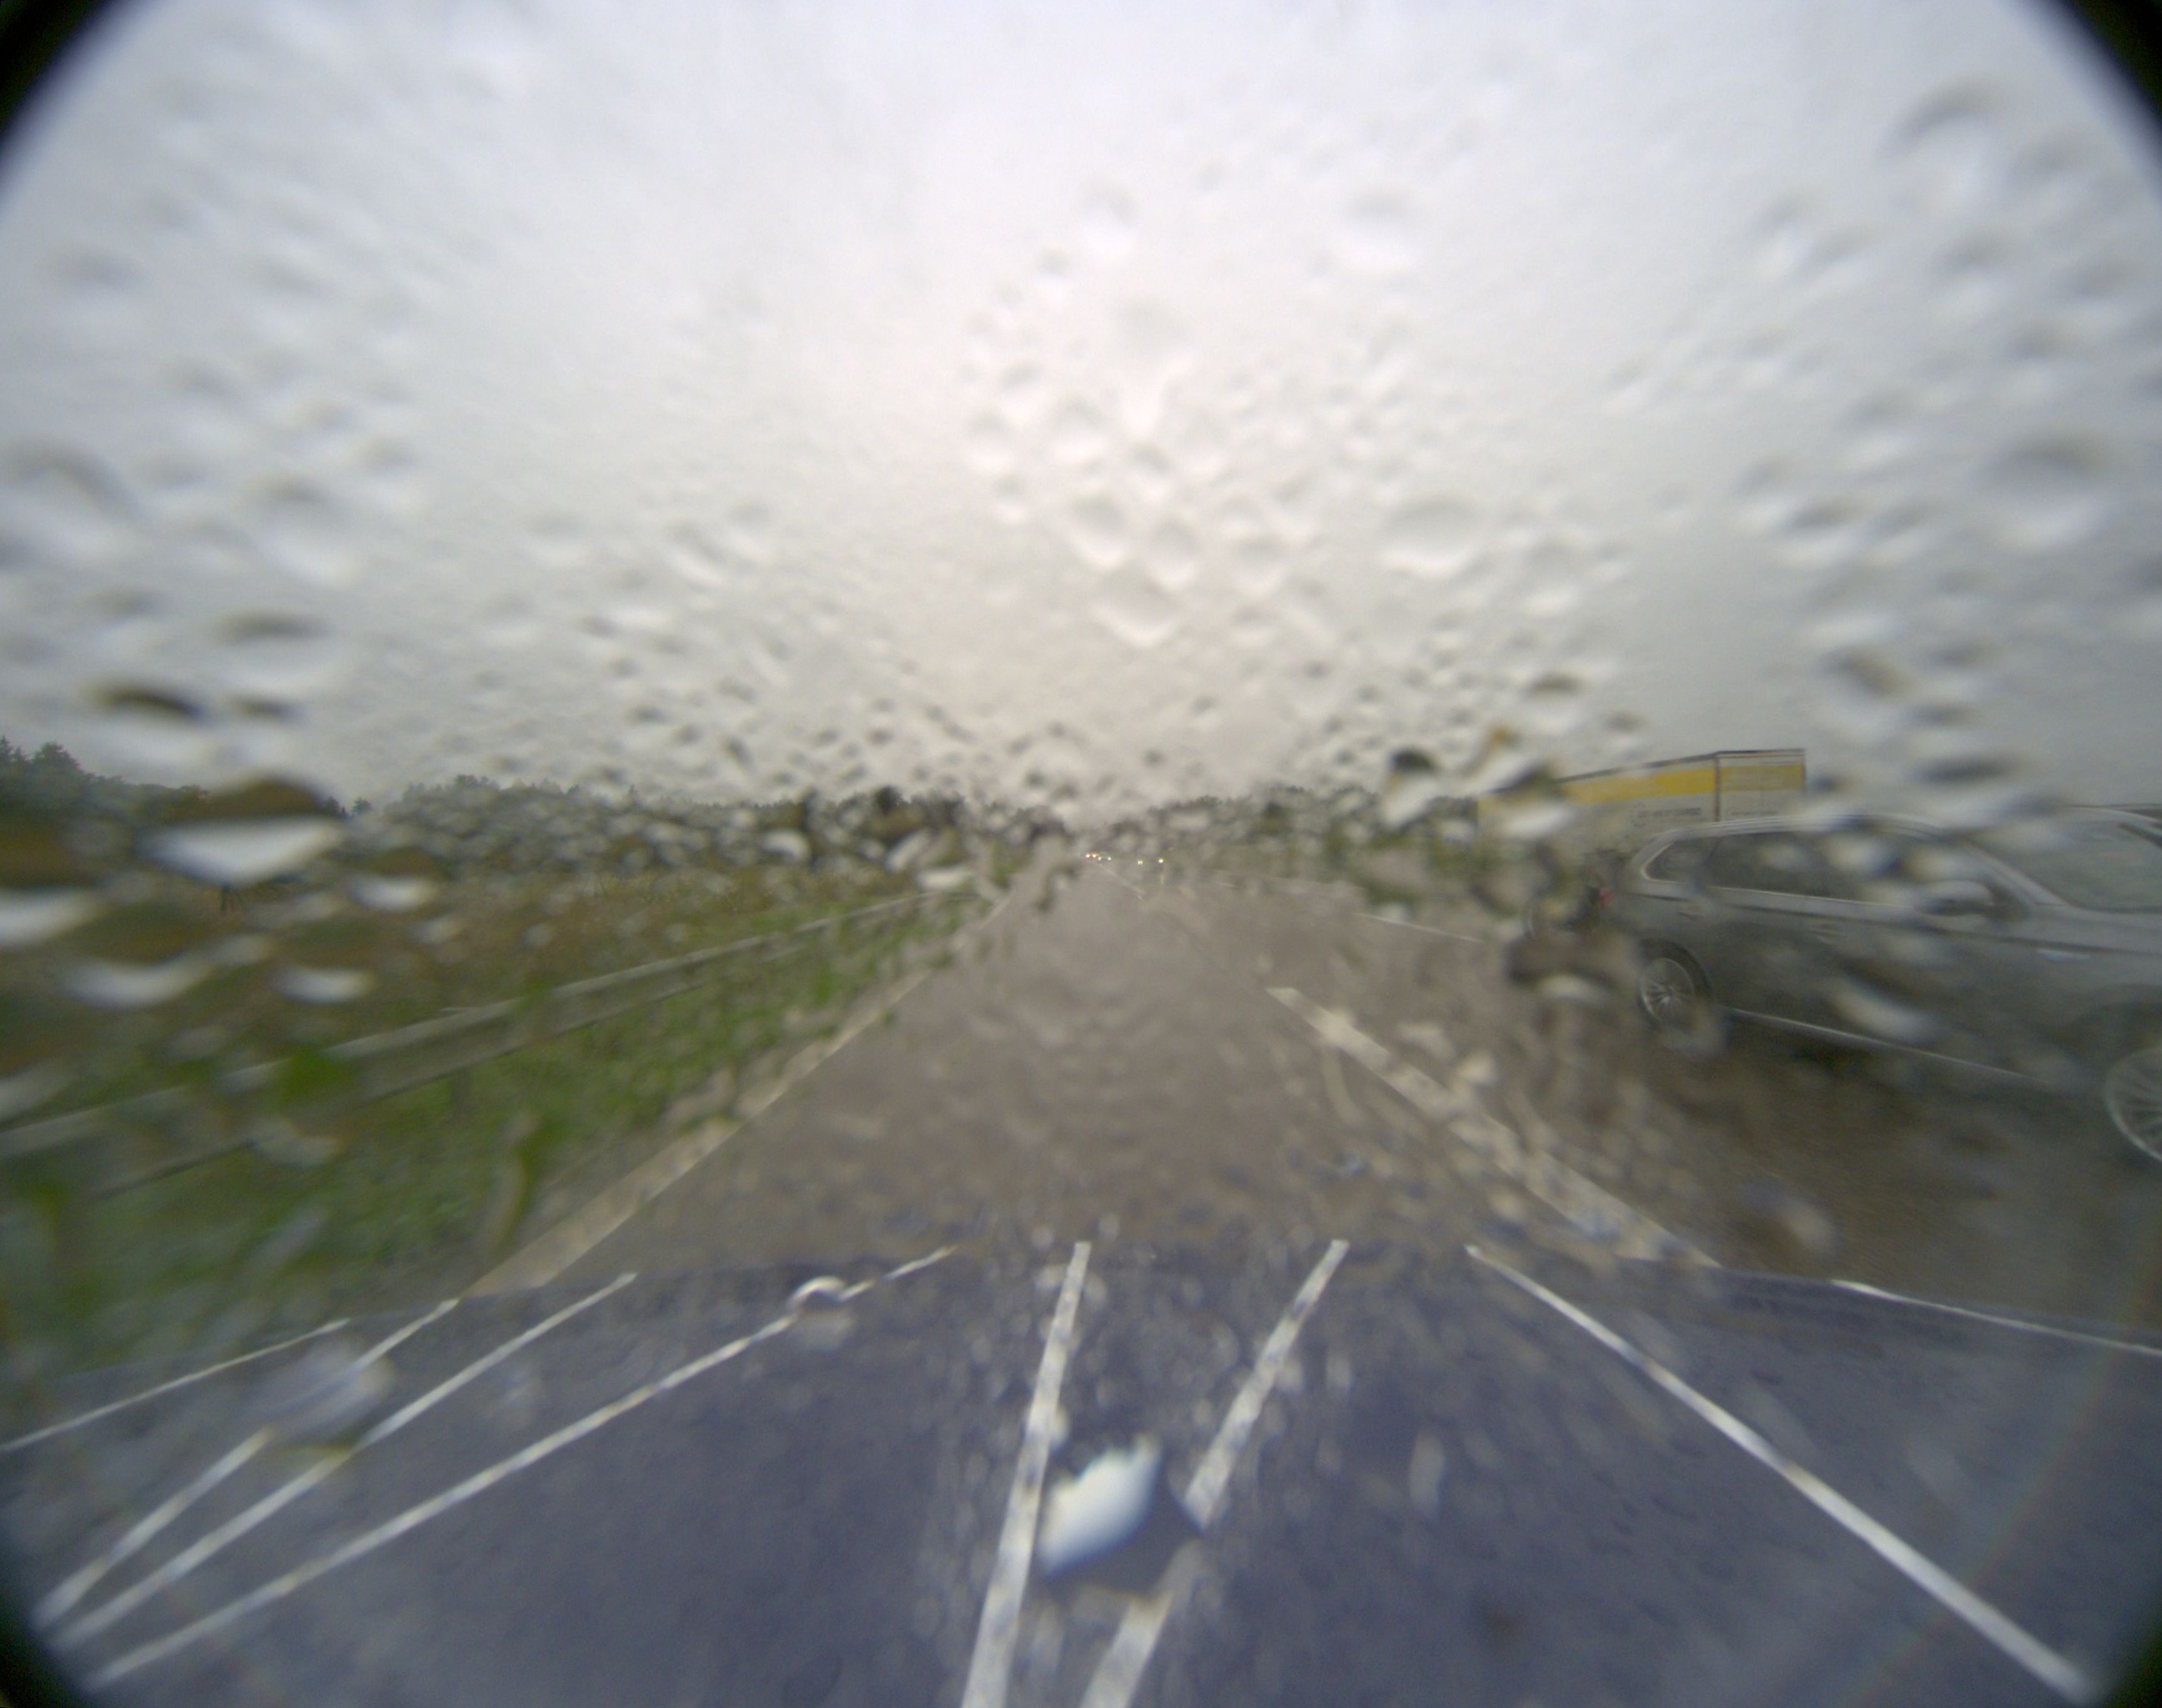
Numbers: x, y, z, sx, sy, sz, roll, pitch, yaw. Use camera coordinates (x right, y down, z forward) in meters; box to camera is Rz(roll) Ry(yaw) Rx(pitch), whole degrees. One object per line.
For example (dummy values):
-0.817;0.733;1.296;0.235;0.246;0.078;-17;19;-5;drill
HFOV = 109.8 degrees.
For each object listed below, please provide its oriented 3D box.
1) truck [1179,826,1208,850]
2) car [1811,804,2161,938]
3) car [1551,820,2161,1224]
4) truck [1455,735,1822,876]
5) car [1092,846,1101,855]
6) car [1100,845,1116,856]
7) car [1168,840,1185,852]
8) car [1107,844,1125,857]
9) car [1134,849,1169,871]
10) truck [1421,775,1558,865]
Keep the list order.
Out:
20.272;-2.813;138.158;3.202;3.944;13.811;-4;1;1;truck
15.788;0.203;12.986;2.110;1.865;4.699;-1;1;0;car
5.260;0.647;4.347;1.867;1.625;5.100;-2;1;-1;car
20.142;-1.506;29.971;3.202;3.944;15.316;-4;1;1;truck
3.601;-0.749;176.385;1.998;2.001;4.642;1;-1;3;car
3.906;-0.520;111.229;2.151;1.627;4.594;-1;1;0;car
16.082;-1.320;128.322;2.110;1.865;4.530;-3;1;0;car
4.753;-0.480;103.436;2.151;1.627;4.594;-1;1;0;car
5.026;0.394;54.838;2.099;1.445;4.594;-1;1;0;car
20.231;-1.609;38.189;3.202;3.944;6.662;-4;1;1;truck
